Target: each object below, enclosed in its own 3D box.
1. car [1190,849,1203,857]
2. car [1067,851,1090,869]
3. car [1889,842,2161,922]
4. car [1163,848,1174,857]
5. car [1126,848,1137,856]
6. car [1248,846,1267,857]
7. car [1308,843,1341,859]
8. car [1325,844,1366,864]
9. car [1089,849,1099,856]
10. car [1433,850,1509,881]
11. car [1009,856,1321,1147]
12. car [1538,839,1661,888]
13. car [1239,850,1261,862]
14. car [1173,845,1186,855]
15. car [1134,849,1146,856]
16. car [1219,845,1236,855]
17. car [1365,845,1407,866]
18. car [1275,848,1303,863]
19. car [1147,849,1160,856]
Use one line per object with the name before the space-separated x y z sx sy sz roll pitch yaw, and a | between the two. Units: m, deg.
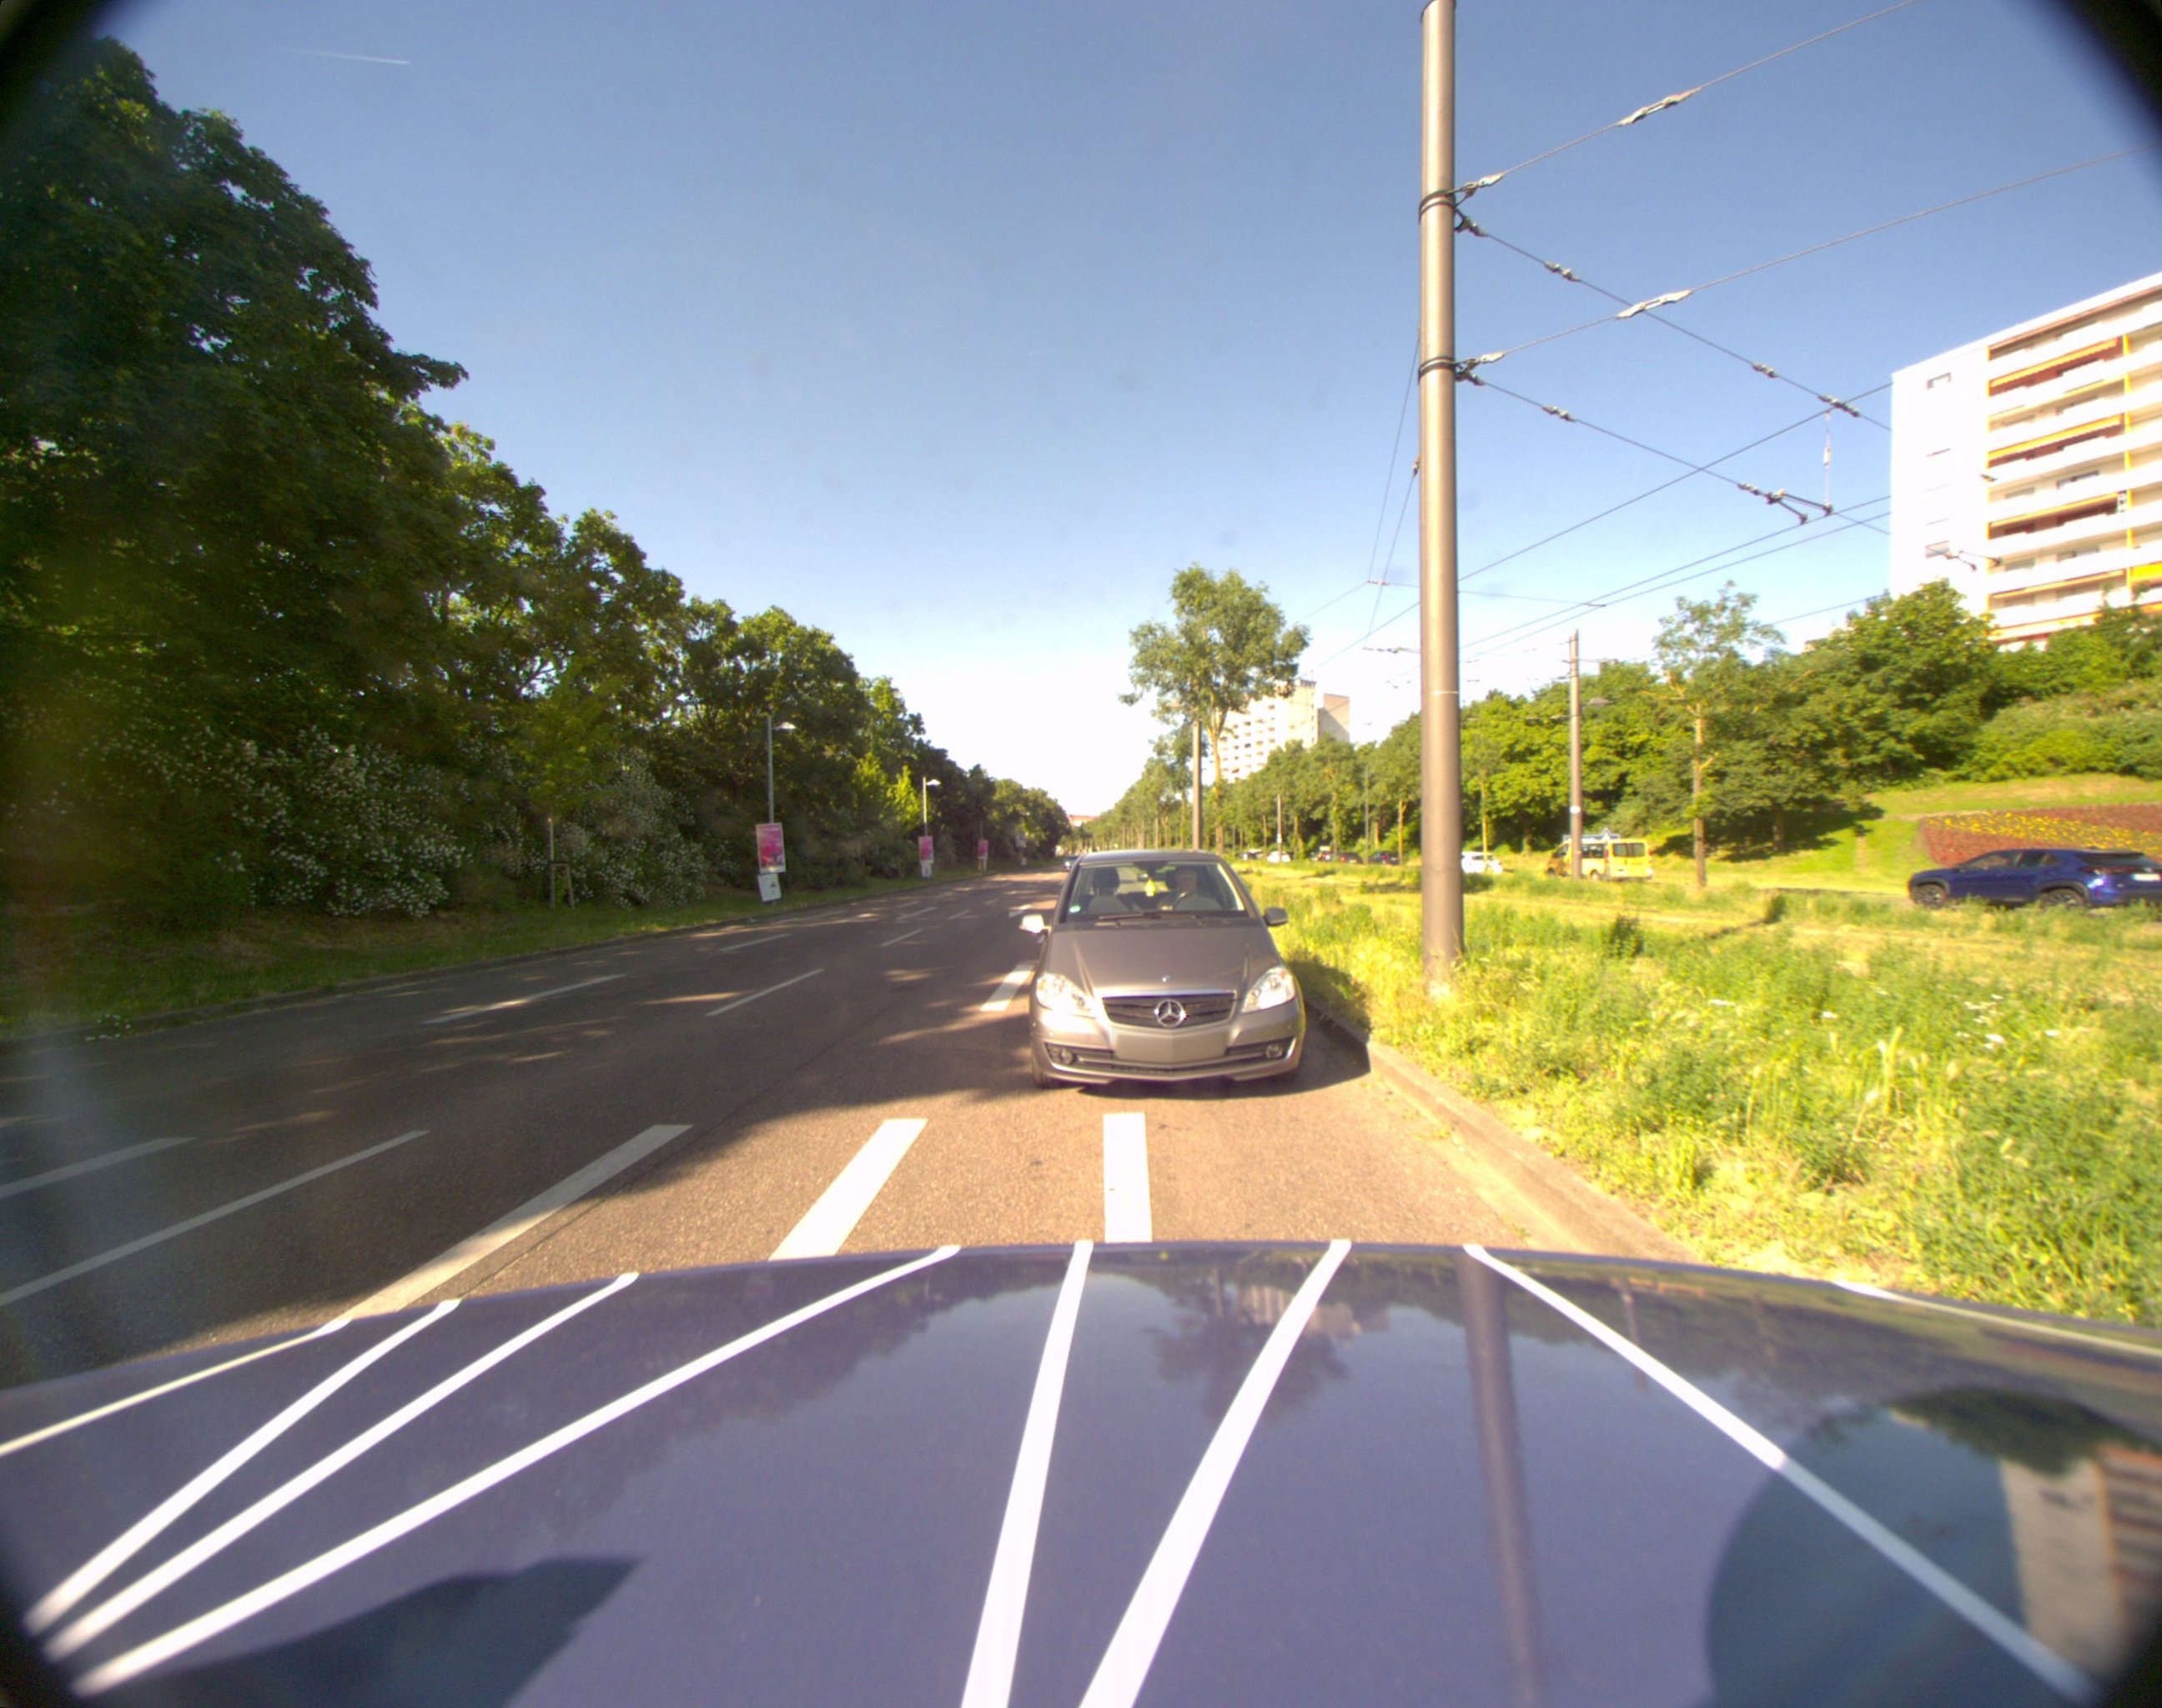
car | 20.939 -0.171 137.371 1.802 1.455 4.000 -1 0 1
car | -0.196 0.494 66.553 1.875 1.428 4.594 -1 0 2
car | 21.359 0.547 17.109 1.998 1.565 4.106 -1 0 1
car | 18.729 -0.317 163.183 1.882 1.755 4.000 -1 0 1
car | 13.468 -0.484 201.967 2.000 2.002 3.996 -1 0 -11
car | 23.102 -0.381 99.562 1.741 1.368 4.000 -1 0 2
car | 22.980 -0.272 71.851 1.867 1.410 4.000 -1 0 2
car | 19.567 0.012 56.382 1.799 1.408 4.311 -1 0 4
car | 4.254 -0.524 243.858 1.944 2.002 3.994 -1 0 -17
car | 18.980 0.530 37.203 1.693 1.399 4.021 -1 0 1
car | 0.509 0.853 6.287 1.759 1.612 3.880 -1 0 1
car | 22.046 0.382 32.626 1.998 1.955 4.907 0 0 1
car | 20.171 0.172 90.813 1.825 1.353 4.230 -1 0 3
car | 18.253 -0.677 141.107 1.882 1.755 4.000 -1 0 1
car | 14.986 -0.440 192.969 1.911 1.652 3.996 -1 0 -10
car | 22.361 -0.651 116.035 1.998 1.477 4.000 -1 0 1
car | 22.902 0.109 57.165 1.792 1.499 4.242 -1 0 5
car | 20.647 0.099 75.620 1.867 1.410 4.000 -1 0 3
car | 17.248 -0.403 181.803 1.911 1.652 3.995 -1 0 -12
